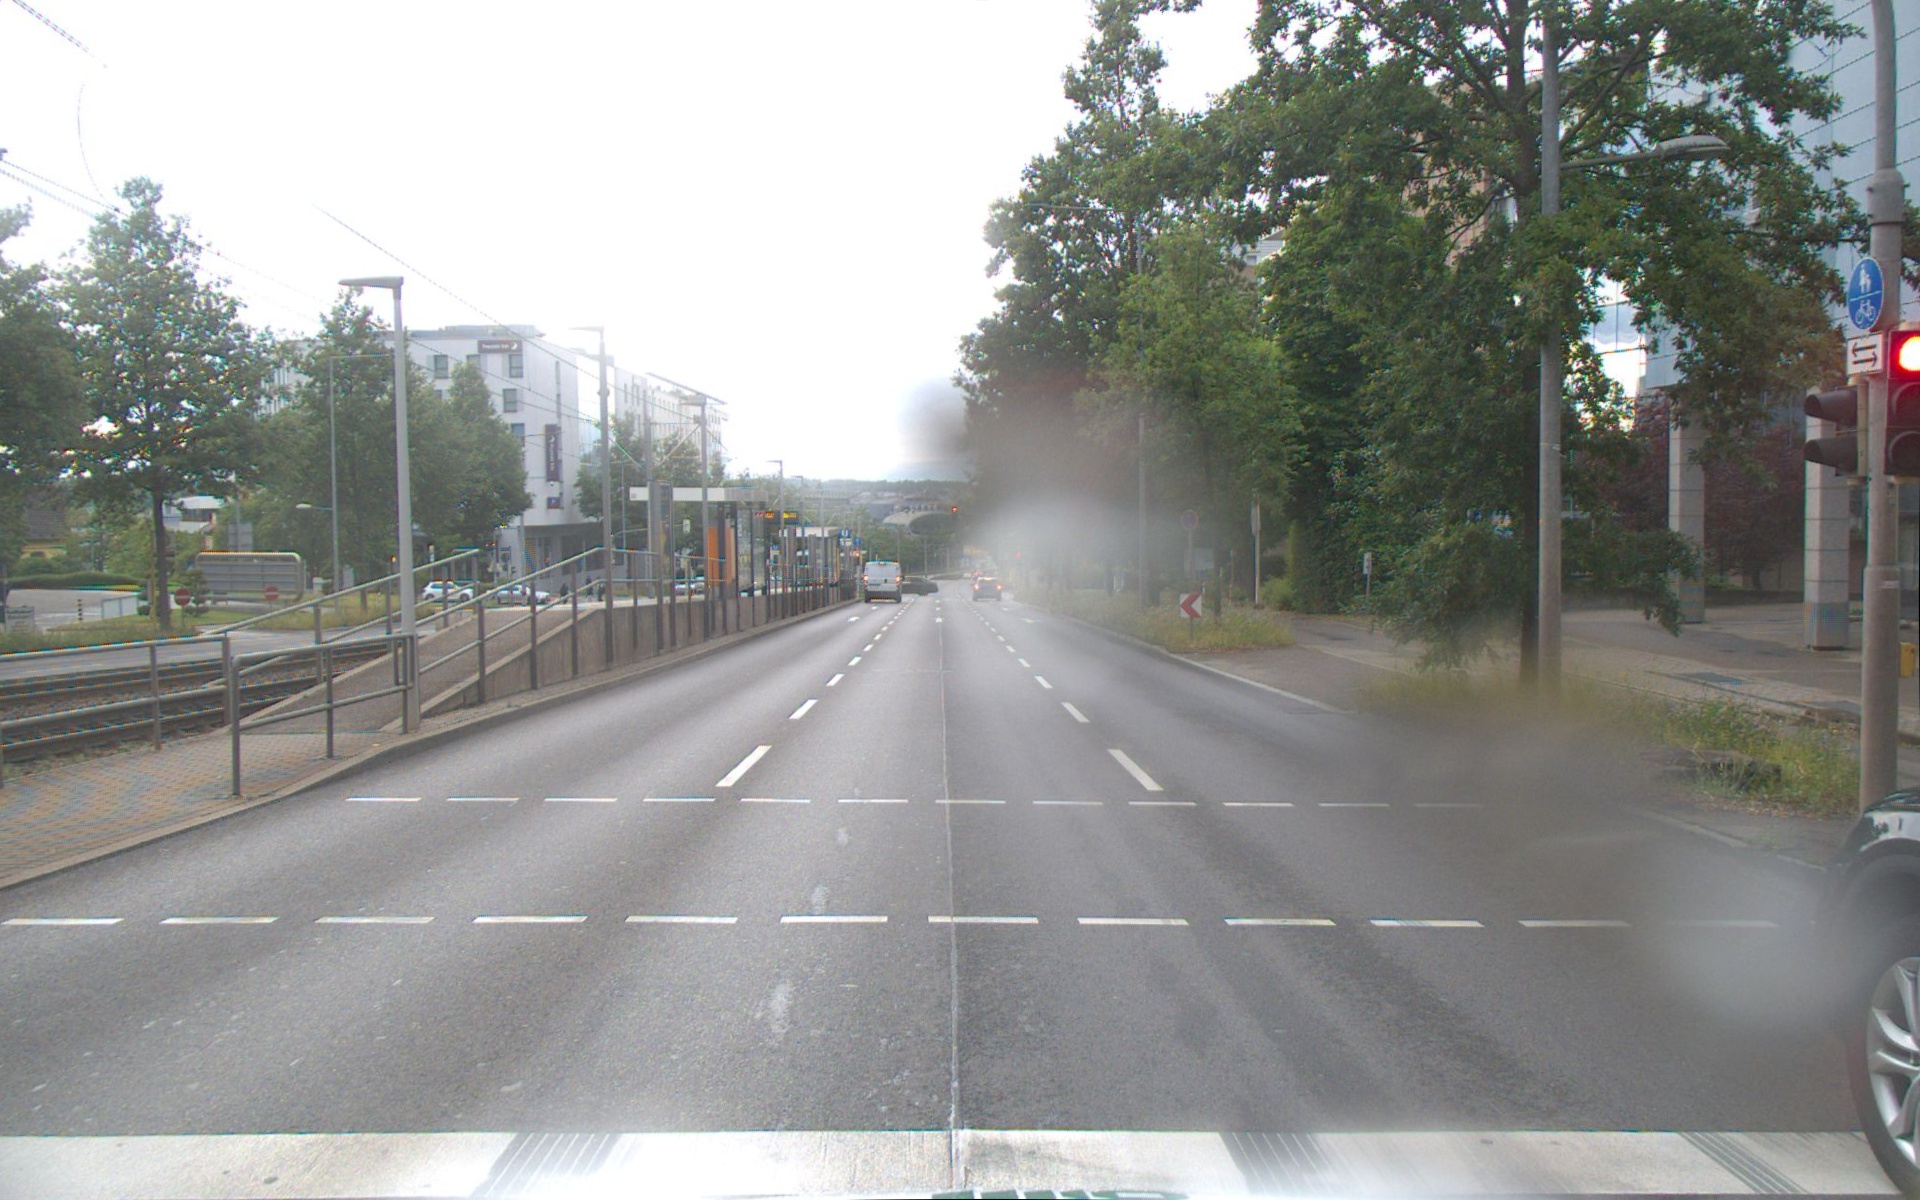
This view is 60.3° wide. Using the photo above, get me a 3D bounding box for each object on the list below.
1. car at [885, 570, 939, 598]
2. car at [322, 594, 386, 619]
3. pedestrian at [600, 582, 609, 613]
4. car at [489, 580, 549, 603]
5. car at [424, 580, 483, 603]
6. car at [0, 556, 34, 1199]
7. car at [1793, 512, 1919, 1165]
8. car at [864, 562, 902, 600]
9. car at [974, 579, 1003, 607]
[{"bbox_3d":[-3.597,-1.203,124.334,3.913,2.049,1.756,0,1,-9],"label":"car"},{"bbox_3d":[-35.316,0.351,96.340,3.297,1.411,1.434,0,1,16],"label":"car"},{"bbox_3d":[-22.579,-0.188,104.968,0.465,1.954,0.490,0,0,-1],"label":"pedestrian"},{"bbox_3d":[-31.487,-0.598,118.063,3.784,1.461,1.657,-2,1,13],"label":"car"},{"bbox_3d":[-37.086,-0.634,121.287,4.022,1.461,1.649,-3,1,-16],"label":"car"},{"bbox_3d":[-2.778,0.680,1.196,1.744,1.492,4.513,0,1,-1],"label":"car"},{"bbox_3d":[3.331,0.619,2.550,1.781,1.641,4.470,0,1,-1],"label":"car"},{"bbox_3d":[-4.354,-1.089,94.060,2.051,2.089,4.605,0,1,-2],"label":"car"},{"bbox_3d":[1.757,-0.446,103.084,1.738,1.720,3.845,0,1,-1],"label":"car"}]
